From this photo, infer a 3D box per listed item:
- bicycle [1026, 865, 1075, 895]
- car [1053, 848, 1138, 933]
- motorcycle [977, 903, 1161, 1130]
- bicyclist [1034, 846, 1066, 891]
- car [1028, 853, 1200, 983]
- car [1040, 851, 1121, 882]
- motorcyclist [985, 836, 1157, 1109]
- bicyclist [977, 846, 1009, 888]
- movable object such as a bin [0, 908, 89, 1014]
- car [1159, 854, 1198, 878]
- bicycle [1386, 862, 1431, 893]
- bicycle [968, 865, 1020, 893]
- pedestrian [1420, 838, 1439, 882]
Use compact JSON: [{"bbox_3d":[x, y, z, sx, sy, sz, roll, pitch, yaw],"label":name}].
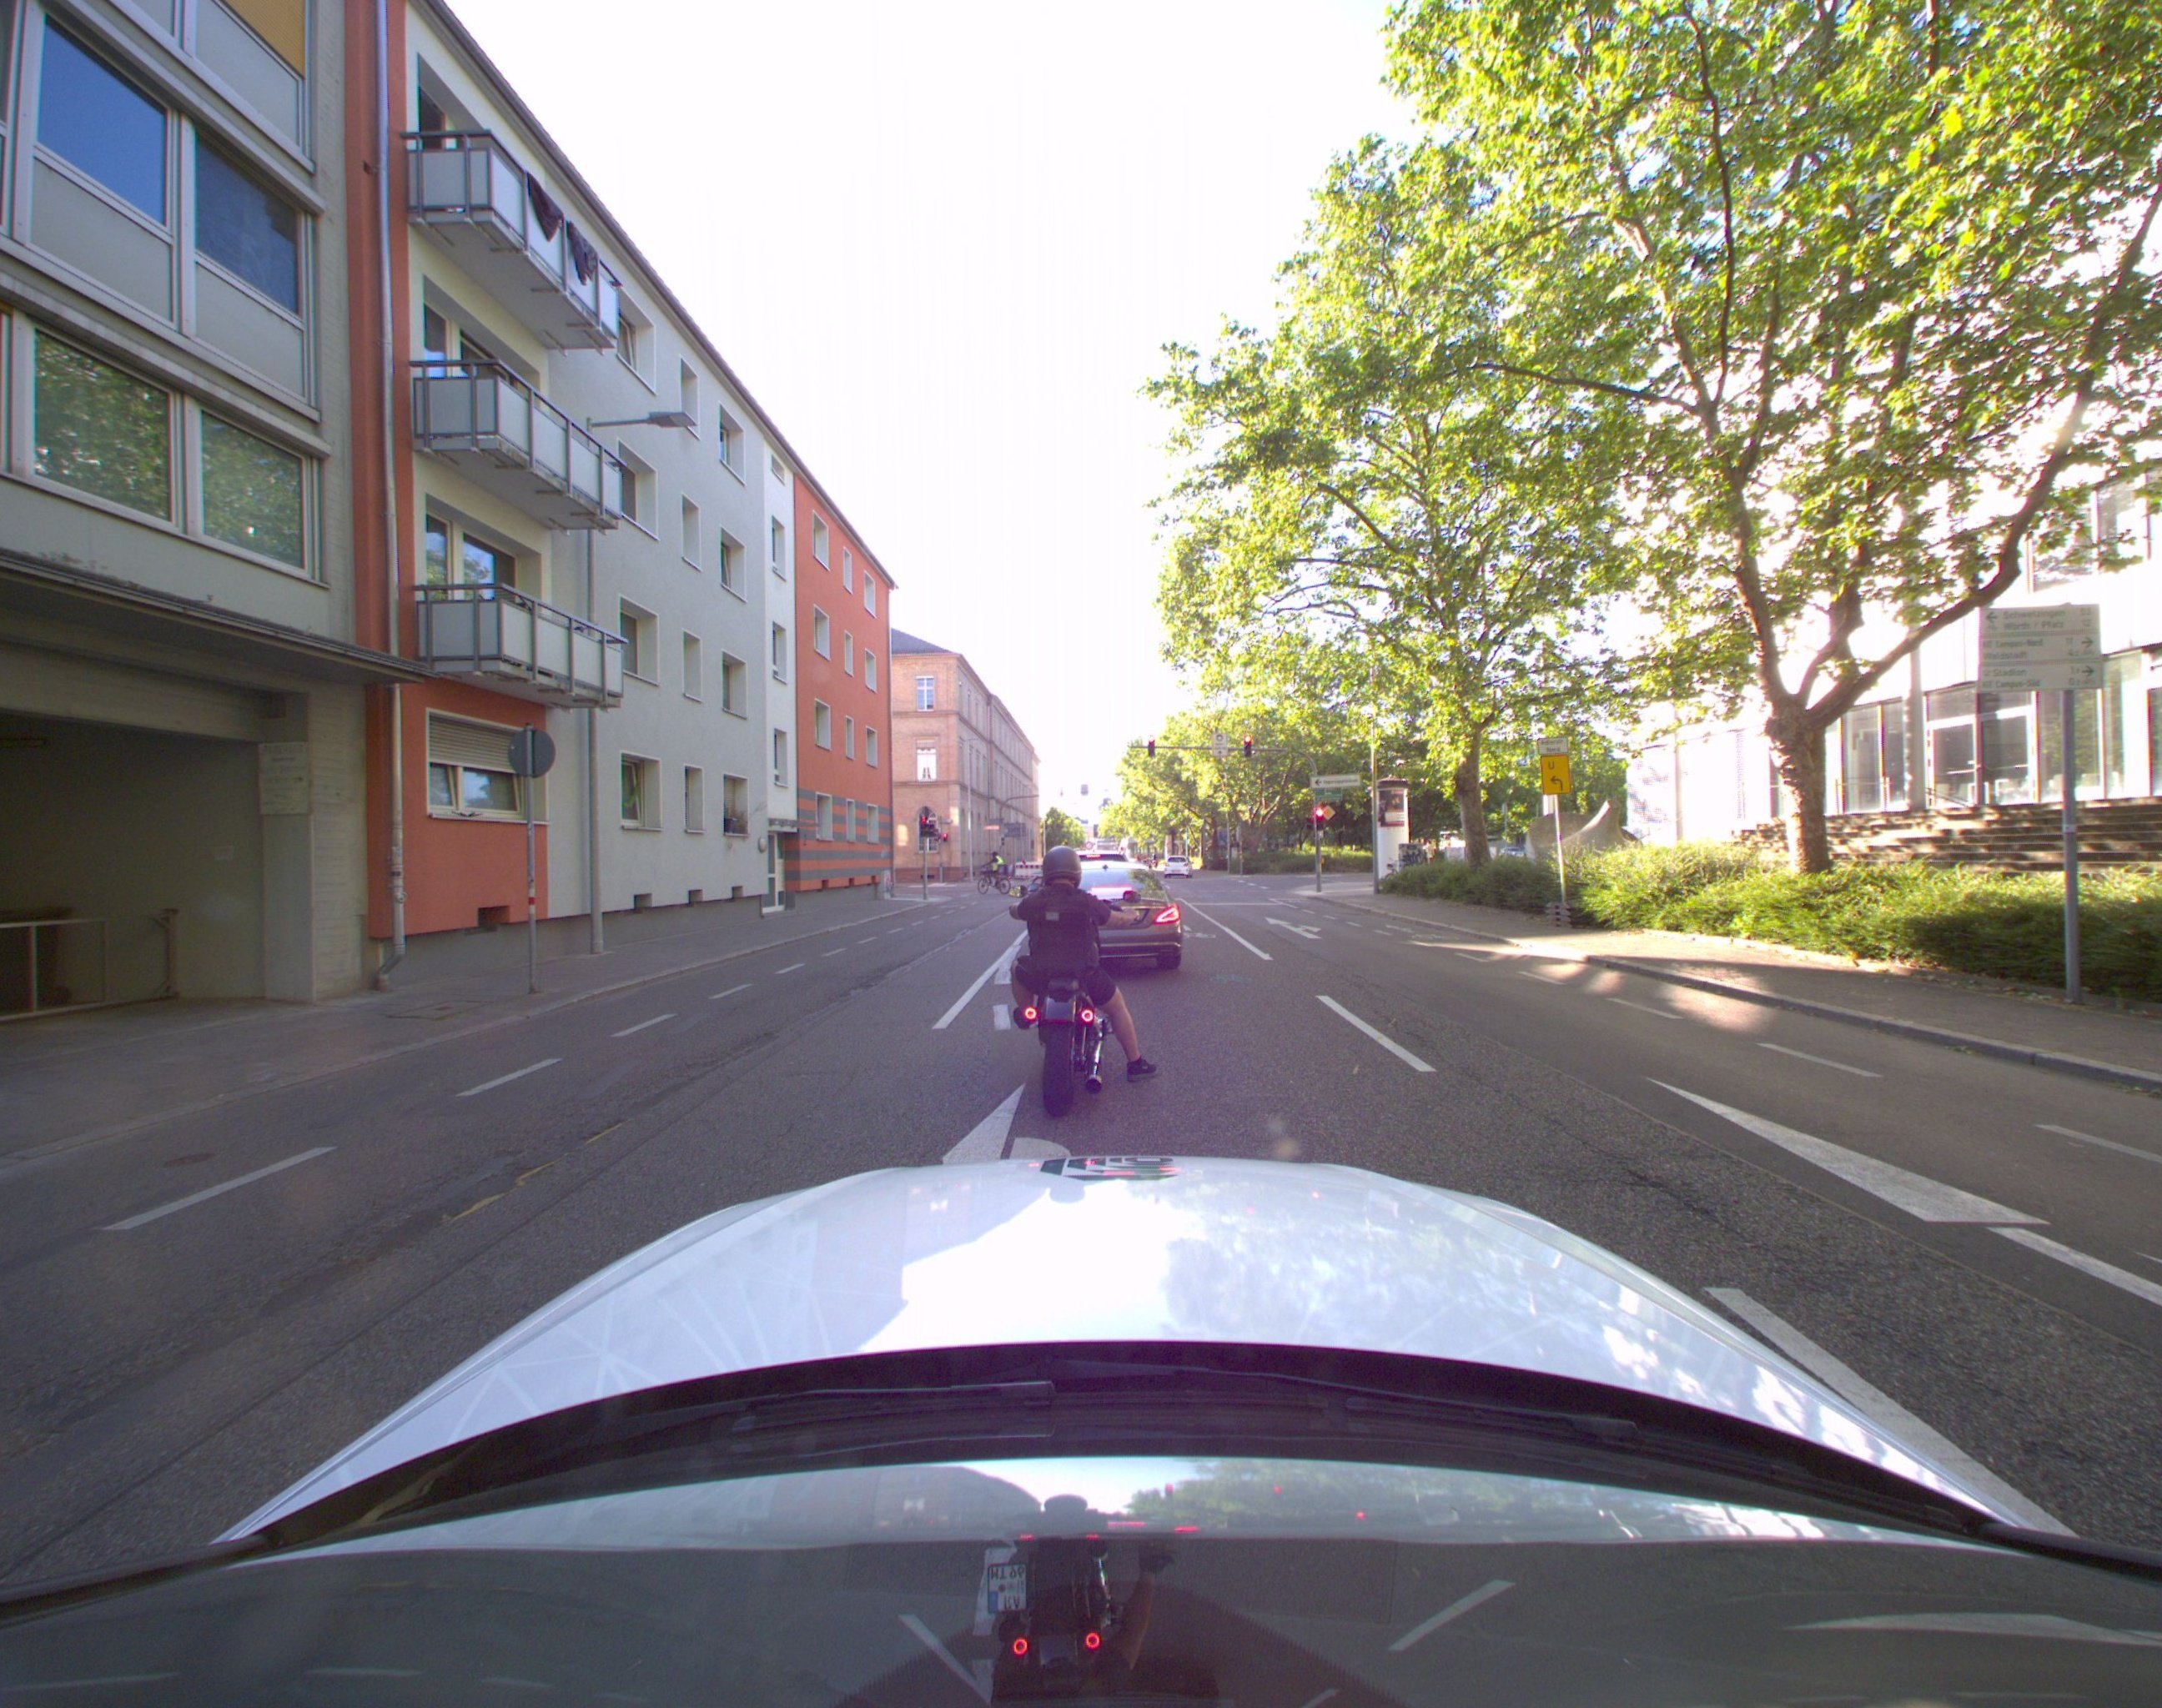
[{"bbox_3d":[-1.185,0.986,31.430,1.855,1.103,0.710,-2,0,39],"label":"bicycle"},{"bbox_3d":[0.319,0.710,17.892,1.606,1.607,4.329,-1,0,1],"label":"car"},{"bbox_3d":[-0.029,0.963,5.684,0.986,1.078,2.453,-1,0,2],"label":"motorcycle"},{"bbox_3d":[-1.193,0.554,31.434,0.952,1.692,0.710,-2,0,38],"label":"bicyclist"},{"bbox_3d":[0.255,0.747,11.722,1.943,1.473,4.355,-1,0,-5],"label":"car"},{"bbox_3d":[-0.048,0.672,43.701,3.912,1.481,1.813,-2,-1,-23],"label":"car"},{"bbox_3d":[-0.038,0.704,5.531,0.986,1.597,1.404,-1,0,2],"label":"motorcyclist"},{"bbox_3d":[-3.639,0.531,33.816,1.034,1.695,0.710,-3,-1,31],"label":"bicyclist"},{"bbox_3d":[-11.318,1.123,8.685,0.593,1.041,0.703,0,-1,1],"label":"movable object such as a bin"},{"bbox_3d":[6.437,0.782,53.457,1.841,1.486,3.925,-1,-1,17],"label":"car"},{"bbox_3d":[11.018,0.793,27.429,1.346,1.023,0.363,-1,0,2],"label":"bicycle"},{"bbox_3d":[-3.611,1.049,33.804,2.135,1.103,0.710,-3,-1,31],"label":"bicycle"},{"bbox_3d":[14.891,0.238,34.807,0.549,1.849,0.594,-1,0,3],"label":"pedestrian"}]
